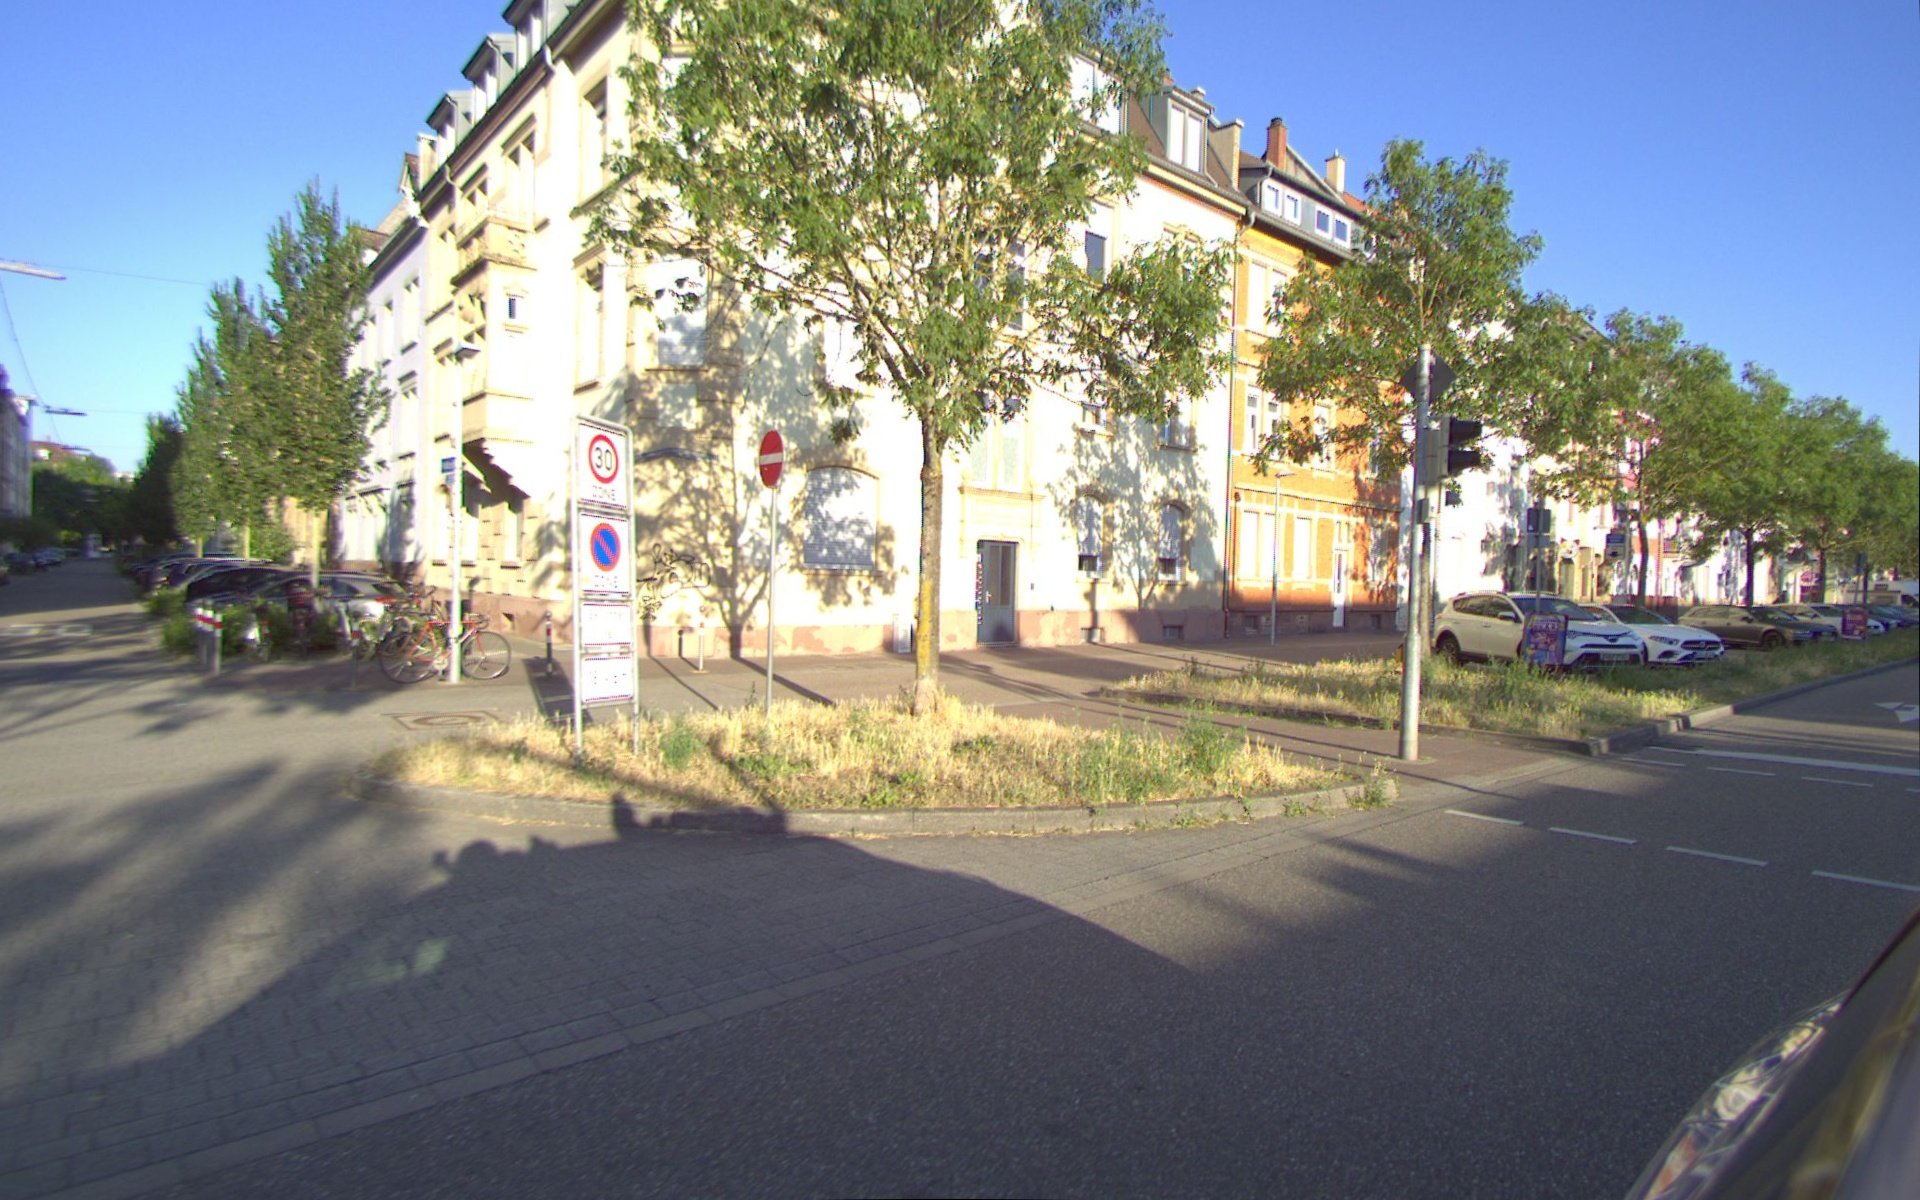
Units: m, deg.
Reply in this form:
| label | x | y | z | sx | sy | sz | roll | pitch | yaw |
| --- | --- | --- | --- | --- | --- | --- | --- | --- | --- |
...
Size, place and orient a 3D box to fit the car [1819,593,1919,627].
| label | x | y | z | sx | sy | sz | roll | pitch | yaw |
| --- | --- | --- | --- | --- | --- | --- | --- | --- | --- |
| car | 42.588 | 0.430 | 46.889 | 1.691 | 1.455 | 4.061 | 0 | 1 | -12 |

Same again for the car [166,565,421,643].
| label | x | y | z | sx | sy | sz | roll | pitch | yaw |
| --- | --- | --- | --- | --- | --- | --- | --- | --- | --- |
| car | -13.989 | 0.075 | 21.490 | 4.113 | 1.511 | 1.872 | 1 | 1 | -11 |

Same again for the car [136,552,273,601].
| label | x | y | z | sx | sy | sz | roll | pitch | yaw |
| --- | --- | --- | --- | --- | --- | --- | --- | --- | --- |
| car | -27.683 | -0.847 | 37.222 | 3.633 | 1.688 | 1.872 | 1 | 1 | -21 |

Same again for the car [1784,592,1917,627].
| label | x | y | z | sx | sy | sz | roll | pitch | yaw |
| --- | --- | --- | --- | --- | --- | --- | --- | --- | --- |
| car | 40.116 | 0.392 | 45.735 | 1.848 | 1.434 | 4.440 | 1 | 0 | -4 |

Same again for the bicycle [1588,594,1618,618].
| label | x | y | z | sx | sy | sz | roll | pitch | yaw |
| --- | --- | --- | --- | --- | --- | --- | --- | --- | --- |
| bicycle | 30.651 | 0.265 | 48.217 | 2.189 | 1.092 | 0.589 | 0 | 3 | -41 |

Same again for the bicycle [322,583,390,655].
| label | x | y | z | sx | sy | sz | roll | pitch | yaw |
| --- | --- | --- | --- | --- | --- | --- | --- | --- | --- |
| bicycle | -10.379 | 0.297 | 17.366 | 0.565 | 1.138 | 1.974 | 0 | 2 | -44 |

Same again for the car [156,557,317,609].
| label | x | y | z | sx | sy | sz | roll | pitch | yaw |
| --- | --- | --- | --- | --- | --- | --- | --- | --- | --- |
| car | -21.955 | -0.509 | 30.876 | 3.633 | 1.492 | 1.872 | 1 | 1 | -22 |

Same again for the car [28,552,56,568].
| label | x | y | z | sx | sy | sz | roll | pitch | yaw |
| --- | --- | --- | --- | --- | --- | --- | --- | --- | --- |
| car | -91.476 | -3.943 | 100.851 | 1.966 | 1.485 | 4.102 | 1 | 0 | -43 |

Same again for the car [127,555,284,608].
| label | x | y | z | sx | sy | sz | roll | pitch | yaw |
| --- | --- | --- | --- | --- | --- | --- | --- | --- | --- |
| car | -24.075 | -0.590 | 32.455 | 3.633 | 1.575 | 1.872 | 1 | 1 | -21 |

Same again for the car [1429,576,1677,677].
| label | x | y | z | sx | sy | sz | roll | pitch | yaw |
| --- | --- | --- | --- | --- | --- | --- | --- | --- | --- |
| car | 11.305 | 0.428 | 19.742 | 1.877 | 1.712 | 4.438 | 1 | 1 | -6 |

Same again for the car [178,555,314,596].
| label | x | y | z | sx | sy | sz | roll | pitch | yaw |
| --- | --- | --- | --- | --- | --- | --- | --- | --- | --- |
| car | -24.834 | -0.842 | 35.344 | 3.556 | 1.326 | 1.695 | 1 | 1 | -21 |

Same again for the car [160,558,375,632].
| label | x | y | z | sx | sy | sz | roll | pitch | yaw |
| --- | --- | --- | --- | --- | --- | --- | --- | --- | --- |
| car | -16.047 | -0.117 | 23.687 | 3.792 | 1.596 | 1.873 | 1 | 1 | -20 |

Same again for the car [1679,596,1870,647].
| label | x | y | z | sx | sy | sz | roll | pitch | yaw |
| --- | --- | --- | --- | --- | --- | --- | --- | --- | --- |
| car | 25.330 | 0.619 | 31.724 | 1.857 | 1.365 | 4.591 | 1 | 1 | -8 |

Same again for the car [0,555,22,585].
| label | x | y | z | sx | sy | sz | roll | pitch | yaw |
| --- | --- | --- | --- | --- | --- | --- | --- | --- | --- |
| car | -49.004 | -1.564 | 51.171 | 1.964 | 1.485 | 4.107 | 3 | 0 | -39 |

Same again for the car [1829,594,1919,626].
| label | x | y | z | sx | sy | sz | roll | pitch | yaw |
| --- | --- | --- | --- | --- | --- | --- | --- | --- | --- |
| car | 44.909 | 0.472 | 48.729 | 1.883 | 1.441 | 4.443 | 1 | 0 | -9 |

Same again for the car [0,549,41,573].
| label | x | y | z | sx | sy | sz | roll | pitch | yaw |
| --- | --- | --- | --- | --- | --- | --- | --- | --- | --- |
| car | -63.896 | -2.597 | 68.842 | 1.966 | 1.485 | 4.102 | 1 | 0 | -43 |

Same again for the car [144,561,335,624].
| label | x | y | z | sx | sy | sz | roll | pitch | yaw |
| --- | --- | --- | --- | --- | --- | --- | --- | --- | --- |
| car | -18.367 | -0.196 | 25.996 | 3.633 | 1.492 | 1.872 | 1 | 1 | -21 |

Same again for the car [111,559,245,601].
| label | x | y | z | sx | sy | sz | roll | pitch | yaw |
| --- | --- | --- | --- | --- | --- | --- | --- | --- | --- |
| car | -29.762 | -0.758 | 38.647 | 3.633 | 1.492 | 1.872 | 1 | 1 | -21 |

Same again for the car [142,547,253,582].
| label | x | y | z | sx | sy | sz | roll | pitch | yaw |
| --- | --- | --- | --- | --- | --- | --- | --- | --- | --- |
| car | -36.867 | -1.725 | 49.042 | 3.931 | 1.559 | 1.872 | 1 | 1 | -21 |

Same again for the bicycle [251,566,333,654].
| label | x | y | z | sx | sy | sz | roll | pitch | yaw |
| --- | --- | --- | --- | --- | --- | --- | --- | --- | --- |
| bicycle | -11.085 | 0.127 | 16.745 | 0.718 | 1.336 | 2.351 | 0 | 2 | -44 |

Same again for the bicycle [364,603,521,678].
| label | x | y | z | sx | sy | sz | roll | pitch | yaw |
| --- | --- | --- | --- | --- | --- | --- | --- | --- | --- |
| bicycle | -7.049 | 0.525 | 13.845 | 1.851 | 0.882 | 0.461 | -1 | 8 | -41 |

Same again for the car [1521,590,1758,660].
| label | x | y | z | sx | sy | sz | roll | pitch | yaw |
| --- | --- | --- | --- | --- | --- | --- | --- | --- | --- |
| car | 15.685 | 0.510 | 23.725 | 1.989 | 1.417 | 4.564 | 0 | 1 | -10 |

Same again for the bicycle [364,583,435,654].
| label | x | y | z | sx | sy | sz | roll | pitch | yaw |
| --- | --- | --- | --- | --- | --- | --- | --- | --- | --- |
| bicycle | -9.817 | 0.287 | 17.687 | 0.530 | 1.119 | 2.207 | 0 | 2 | -44 |

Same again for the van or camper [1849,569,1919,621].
| label | x | y | z | sx | sy | sz | roll | pitch | yaw |
| --- | --- | --- | --- | --- | --- | --- | --- | --- | --- |
| van or camper | 54.383 | -0.288 | 57.493 | 2.159 | 2.847 | 5.661 | 1 | 1 | -9 |

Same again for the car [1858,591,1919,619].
| label | x | y | z | sx | sy | sz | roll | pitch | yaw |
| --- | --- | --- | --- | --- | --- | --- | --- | --- | --- |
| car | 51.934 | 0.287 | 55.461 | 1.761 | 1.420 | 3.926 | 1 | 1 | -2 |

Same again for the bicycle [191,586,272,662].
| label | x | y | z | sx | sy | sz | roll | pitch | yaw |
| --- | --- | --- | --- | --- | --- | --- | --- | --- | --- |
| bicycle | -11.527 | 0.348 | 15.983 | 0.718 | 1.063 | 2.330 | 0 | 2 | -44 |

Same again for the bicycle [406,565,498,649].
| label | x | y | z | sx | sy | sz | roll | pitch | yaw |
| --- | --- | --- | --- | --- | --- | --- | --- | --- | --- |
| bicycle | -9.240 | 0.086 | 18.342 | 0.718 | 1.401 | 2.667 | 0 | 2 | -44 |

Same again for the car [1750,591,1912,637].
| label | x | y | z | sx | sy | sz | roll | pitch | yaw |
| --- | --- | --- | --- | --- | --- | --- | --- | --- | --- |
| car | 32.682 | 0.481 | 38.180 | 1.810 | 1.528 | 4.652 | 1 | 1 | -5 |
